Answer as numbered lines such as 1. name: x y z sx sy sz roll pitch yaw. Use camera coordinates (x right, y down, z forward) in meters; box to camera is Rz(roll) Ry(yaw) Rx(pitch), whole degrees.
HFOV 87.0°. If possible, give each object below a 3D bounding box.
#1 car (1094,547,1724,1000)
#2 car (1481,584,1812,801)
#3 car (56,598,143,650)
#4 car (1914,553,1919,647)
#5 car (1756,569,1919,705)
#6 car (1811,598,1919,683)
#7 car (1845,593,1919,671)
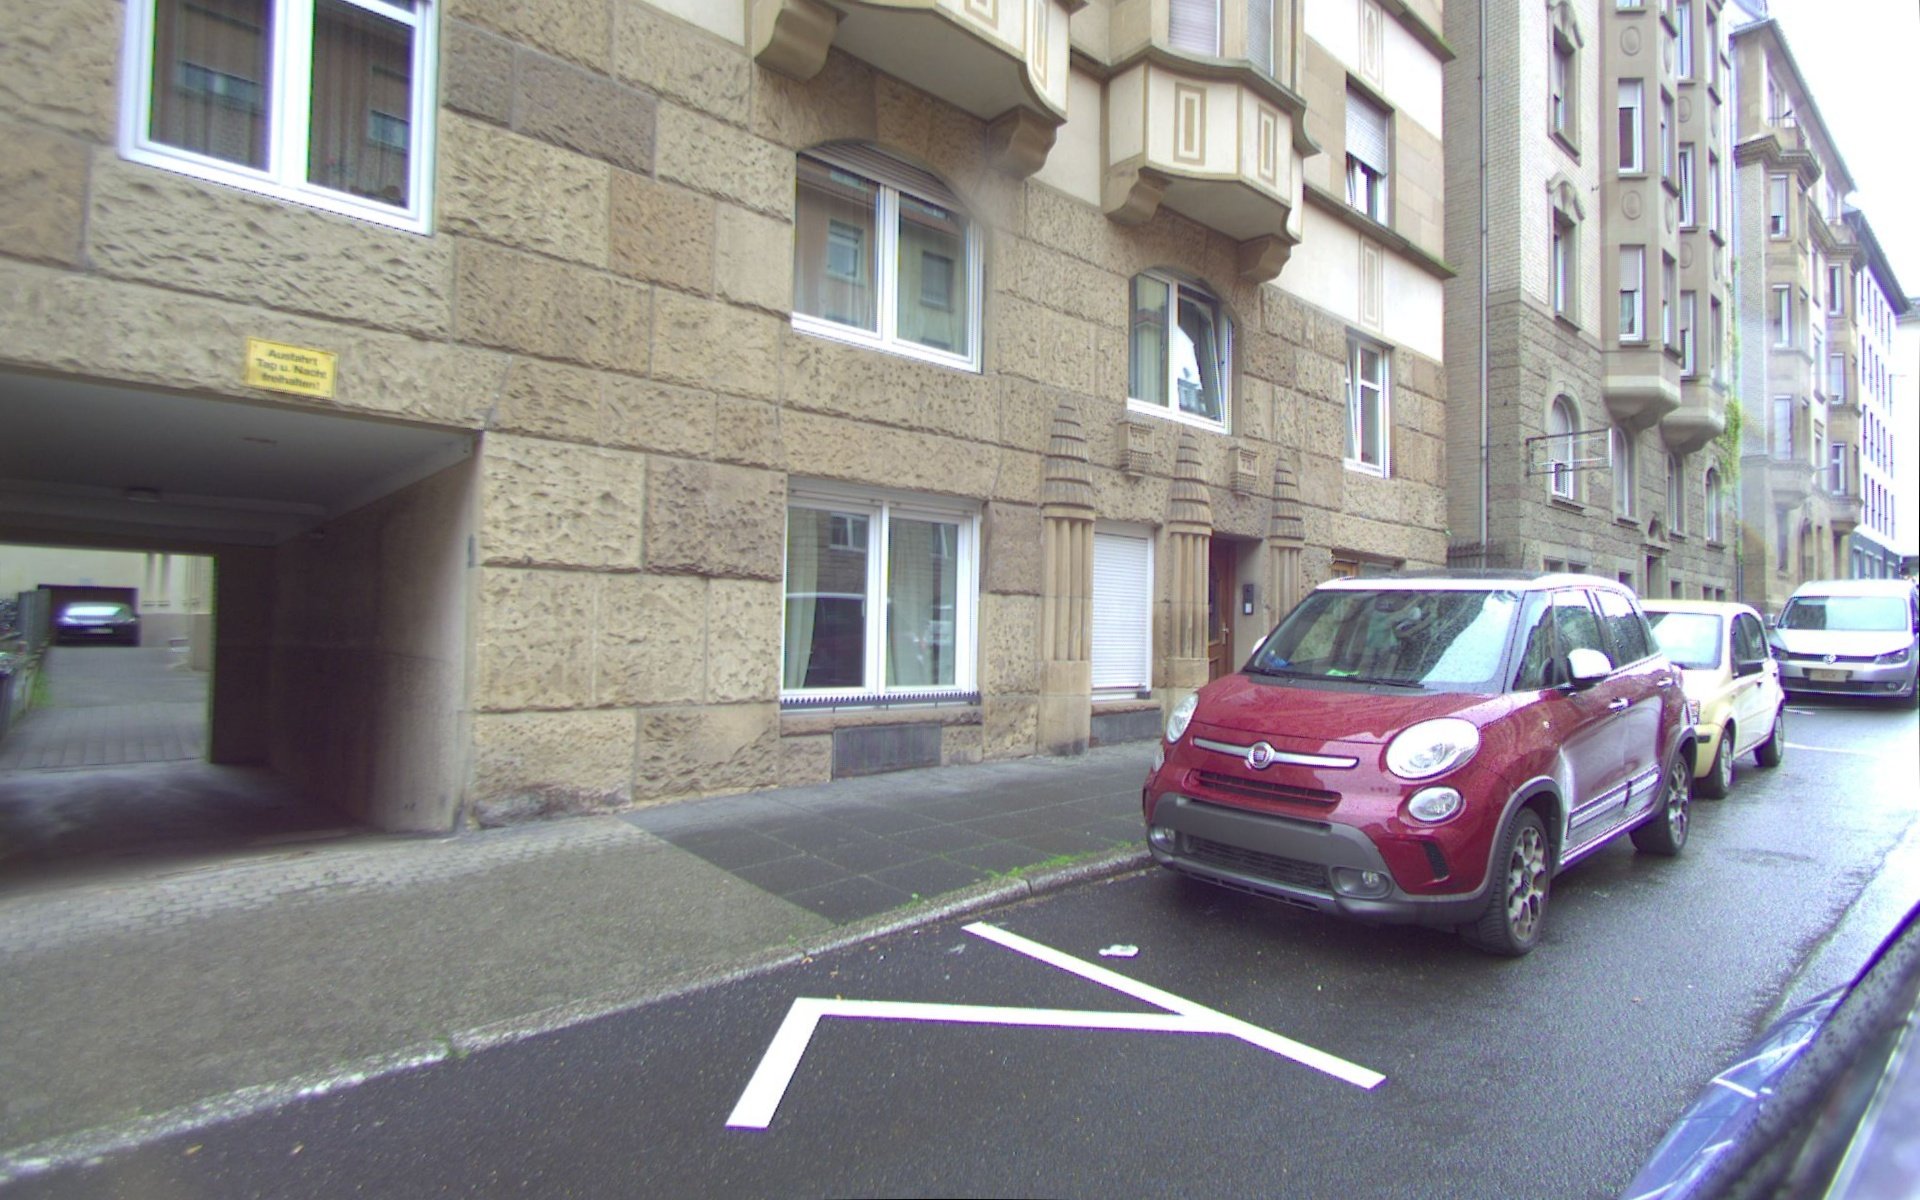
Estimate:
1. car: 2.696 0.600 5.611 3.932 1.621 1.772 0 1 -42
2. car: 6.156 0.662 8.948 3.471 1.530 1.630 0 -1 -42
3. car: -25.090 0.645 29.473 1.765 1.363 4.008 -1 1 -43
4. car: 29.164 -0.014 28.852 6.042 2.567 1.991 0 -1 -39
5. car: 13.622 0.484 15.294 3.893 1.791 1.809 0 0 -41
6. car: 17.162 0.676 18.430 3.912 1.406 1.929 0 -1 -41
7. car: 20.362 0.623 21.391 3.987 1.544 1.933 0 -1 -41
